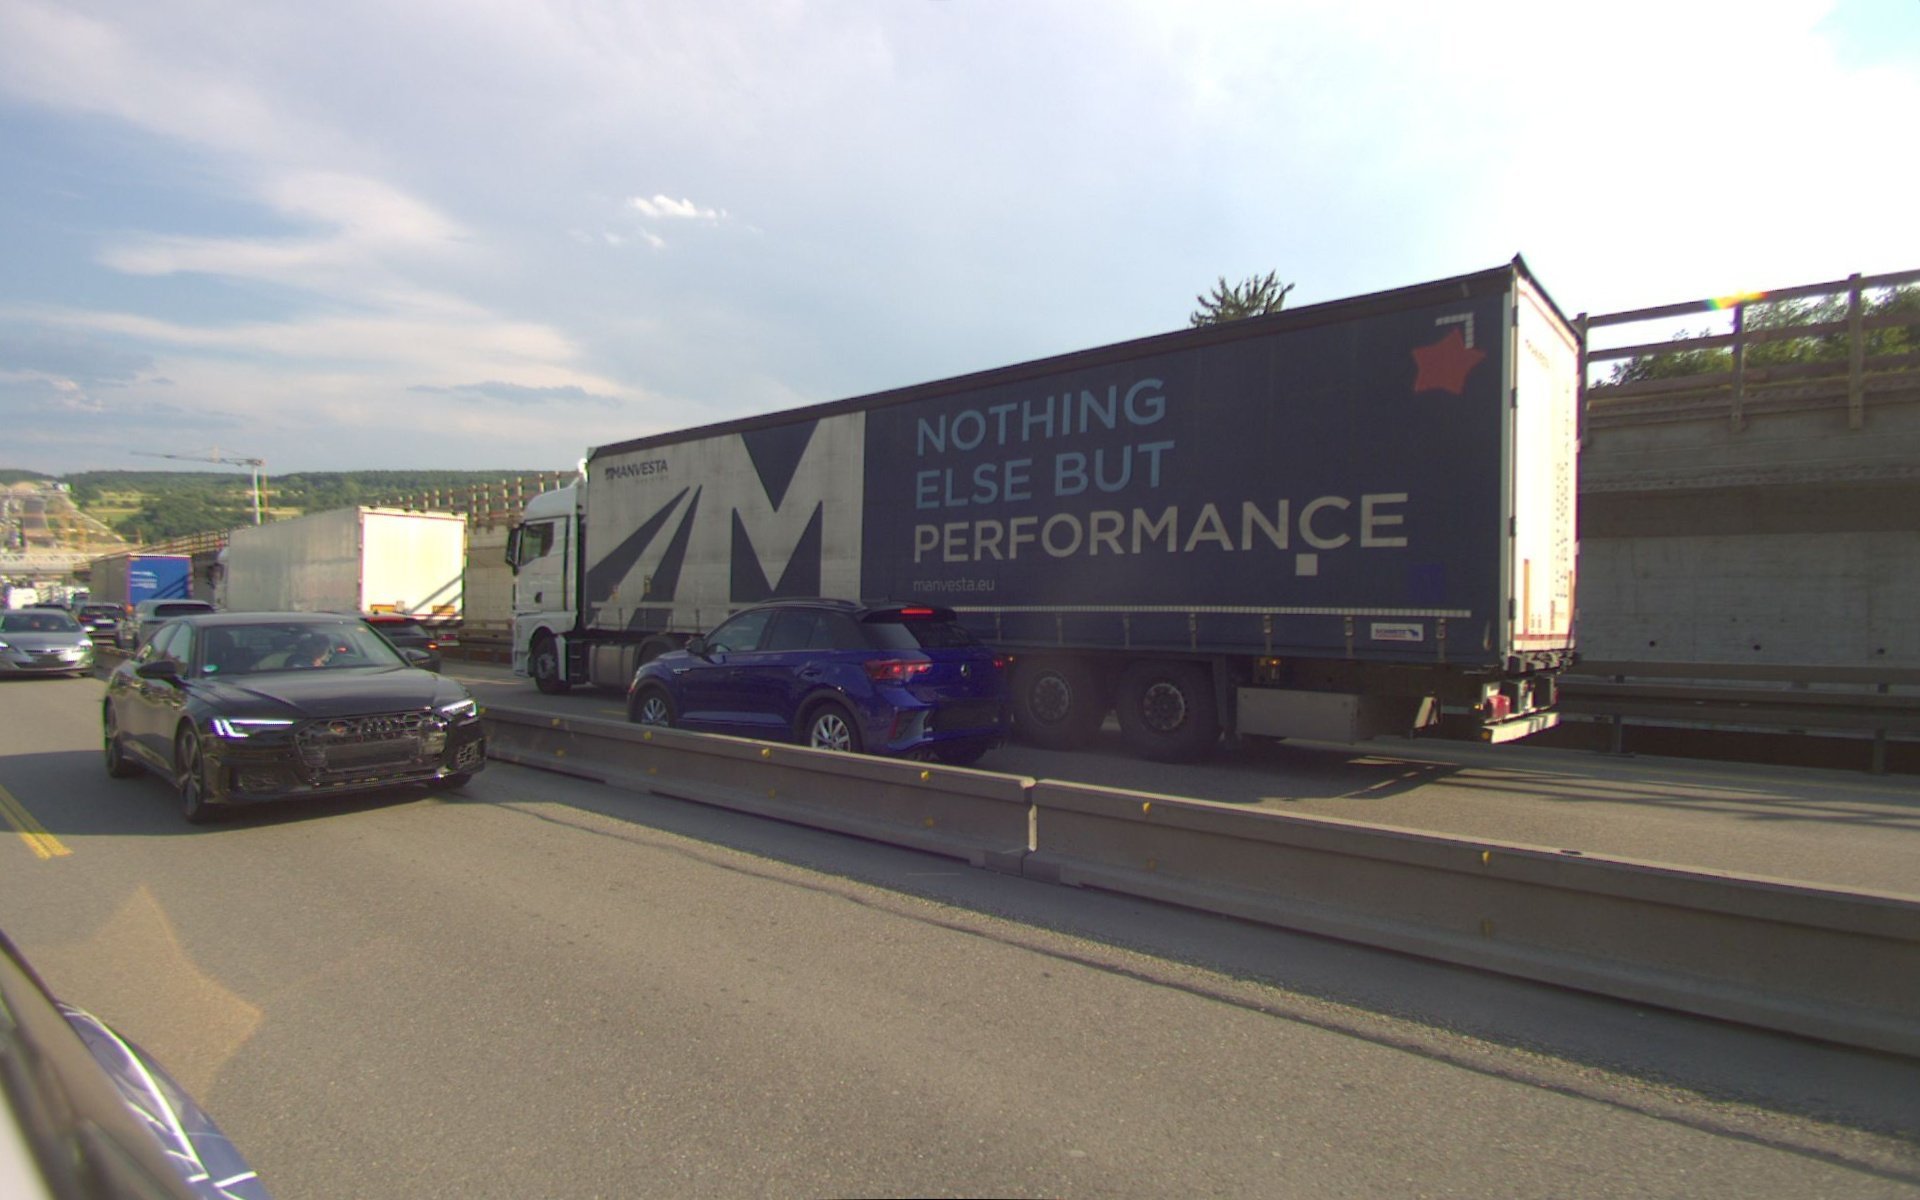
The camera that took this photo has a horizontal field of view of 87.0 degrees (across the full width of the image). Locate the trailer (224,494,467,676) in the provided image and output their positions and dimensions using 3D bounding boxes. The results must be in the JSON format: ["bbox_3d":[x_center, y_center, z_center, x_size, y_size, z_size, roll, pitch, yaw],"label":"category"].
[{"bbox_3d":[-18.575,-0.333,29.832,13.776,4.353,2.429,0,-1,43],"label":"trailer"}]

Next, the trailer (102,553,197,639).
[{"bbox_3d":[-42.200,-0.151,52.565,8.290,4.136,2.784,0,-1,44],"label":"trailer"}]

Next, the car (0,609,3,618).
[{"bbox_3d":[-148.854,2.072,156.130,1.689,1.329,3.666,-4,2,-45],"label":"car"}]

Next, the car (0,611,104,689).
[{"bbox_3d":[-19.771,1.000,21.460,4.115,1.498,1.787,0,-2,40],"label":"car"}]

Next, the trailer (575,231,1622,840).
[{"bbox_3d":[-0.096,-0.433,12.674,13.829,4.235,2.746,0,-1,42],"label":"trailer"}]

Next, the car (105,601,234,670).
[{"bbox_3d":[-22.001,0.900,28.101,4.974,1.667,1.987,0,2,42],"label":"car"}]

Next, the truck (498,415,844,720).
[{"bbox_3d":[-5.051,-0.428,17.107,6.113,4.235,2.735,0,-1,42],"label":"truck"}]

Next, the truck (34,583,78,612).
[{"bbox_3d":[-102.304,-0.289,114.493,6.491,3.169,3.198,0,-1,44],"label":"truck"}]

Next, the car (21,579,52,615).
[{"bbox_3d":[-145.212,-0.484,159.067,3.280,5.428,14.311,1,-1,-44],"label":"car"}]

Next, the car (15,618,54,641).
[{"bbox_3d":[-63.855,1.993,69.789,4.593,1.451,1.723,-1,0,45],"label":"car"}]

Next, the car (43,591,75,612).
[{"bbox_3d":[-92.427,0.113,103.812,2.184,2.037,3.975,-4,2,-45],"label":"car"}]

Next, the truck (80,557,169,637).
[{"bbox_3d":[-48.942,-0.119,59.153,10.584,4.290,2.784,0,-1,44],"label":"truck"}]

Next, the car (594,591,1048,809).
[{"bbox_3d":[-1.490,0.711,9.507,4.477,1.562,1.748,1,1,41],"label":"car"}]

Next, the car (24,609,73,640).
[{"bbox_3d":[-50.285,1.324,55.800,4.371,1.588,1.680,0,-1,44],"label":"car"}]

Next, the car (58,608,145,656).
[{"bbox_3d":[-32.598,1.162,38.380,4.730,1.619,1.860,0,2,42],"label":"car"}]

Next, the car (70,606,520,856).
[{"bbox_3d":[-5.836,0.826,8.537,5.221,1.491,1.919,-1,-2,42],"label":"car"}]

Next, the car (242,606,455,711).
[{"bbox_3d":[-10.581,0.885,17.361,4.813,1.467,1.756,1,1,41],"label":"car"}]

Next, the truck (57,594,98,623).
[{"bbox_3d":[-77.016,0.710,88.314,2.248,2.318,6.067,-4,2,-45],"label":"truck"}]

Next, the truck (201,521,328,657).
[{"bbox_3d":[-24.159,-0.324,35.057,5.474,4.348,2.428,0,-1,43],"label":"truck"}]

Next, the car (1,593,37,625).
[{"bbox_3d":[-80.478,0.800,86.499,5.616,2.636,1.973,-1,-2,45],"label":"car"}]

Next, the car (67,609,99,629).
[{"bbox_3d":[-68.942,1.499,79.546,1.688,1.397,4.004,-4,2,-43],"label":"car"}]
